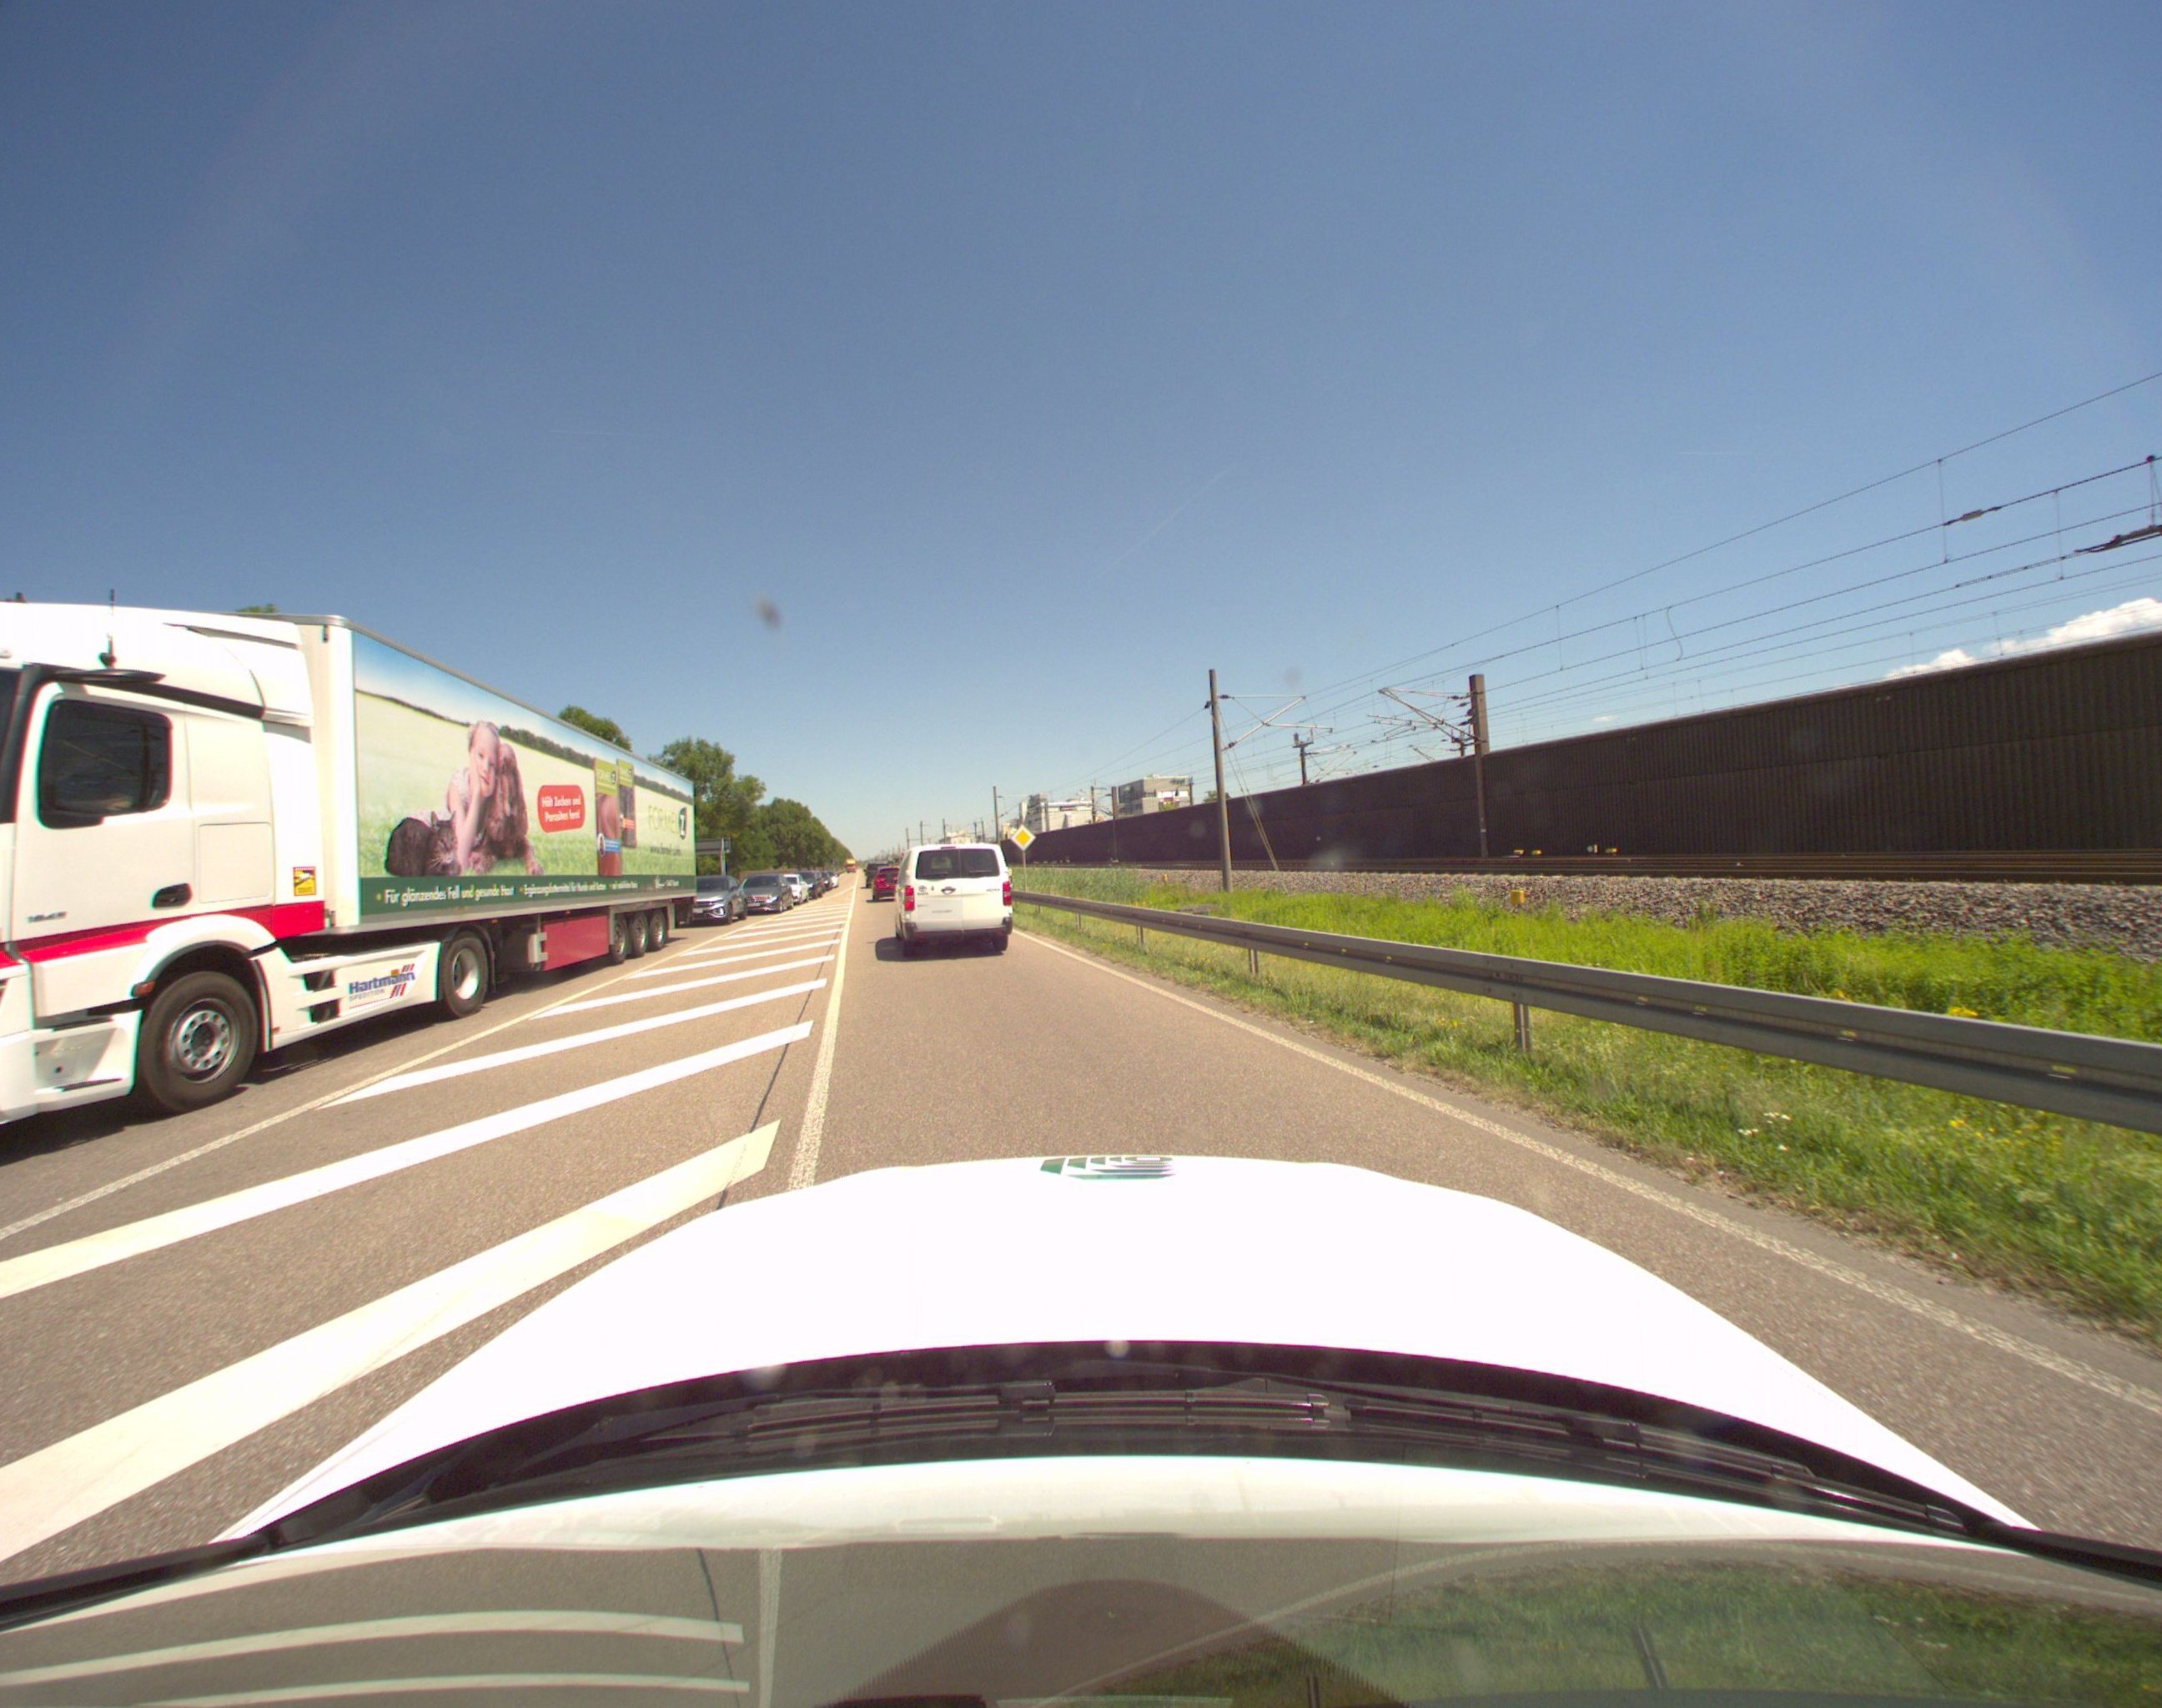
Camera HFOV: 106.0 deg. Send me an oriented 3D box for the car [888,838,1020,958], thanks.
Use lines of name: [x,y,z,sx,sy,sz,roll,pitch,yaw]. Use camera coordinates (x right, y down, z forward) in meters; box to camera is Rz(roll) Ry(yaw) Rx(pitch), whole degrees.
car: [-2.610,0.757,15.616,1.949,1.882,4.855,-1,-1,-15]

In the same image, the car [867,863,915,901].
car: [-9.159,1.321,39.010,1.910,1.649,4.117,-2,0,-17]

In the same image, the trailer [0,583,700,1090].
trailer: [-9.397,-0.049,13.552,2.693,4.045,14.056,-2,-1,-14]

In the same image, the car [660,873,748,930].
car: [-12.087,1.458,26.384,1.714,1.562,4.135,-3,0,-13]

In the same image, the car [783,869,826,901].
car: [-15.646,1.722,46.240,1.718,1.589,4.516,-2,0,-12]

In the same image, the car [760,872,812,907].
car: [-14.247,1.674,39.604,1.654,1.479,4.611,-2,0,-11]

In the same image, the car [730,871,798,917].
car: [-12.477,1.523,32.293,1.625,1.537,4.367,-4,0,-11]

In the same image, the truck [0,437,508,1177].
truck: [-7.771,-0.175,6.943,2.693,4.045,5.797,-2,-1,-14]

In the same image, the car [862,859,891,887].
car: [-16.079,1.500,63.878,2.011,2.022,4.758,-2,0,-15]

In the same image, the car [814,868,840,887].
car: [-21.293,1.949,68.333,1.688,1.460,4.594,-2,0,-14]

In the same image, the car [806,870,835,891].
car: [-19.564,1.961,61.293,1.687,1.460,4.595,-2,0,-13]

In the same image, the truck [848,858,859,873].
truck: [-64.872,3.306,232.381,2.797,3.840,9.274,-3,0,-15]
